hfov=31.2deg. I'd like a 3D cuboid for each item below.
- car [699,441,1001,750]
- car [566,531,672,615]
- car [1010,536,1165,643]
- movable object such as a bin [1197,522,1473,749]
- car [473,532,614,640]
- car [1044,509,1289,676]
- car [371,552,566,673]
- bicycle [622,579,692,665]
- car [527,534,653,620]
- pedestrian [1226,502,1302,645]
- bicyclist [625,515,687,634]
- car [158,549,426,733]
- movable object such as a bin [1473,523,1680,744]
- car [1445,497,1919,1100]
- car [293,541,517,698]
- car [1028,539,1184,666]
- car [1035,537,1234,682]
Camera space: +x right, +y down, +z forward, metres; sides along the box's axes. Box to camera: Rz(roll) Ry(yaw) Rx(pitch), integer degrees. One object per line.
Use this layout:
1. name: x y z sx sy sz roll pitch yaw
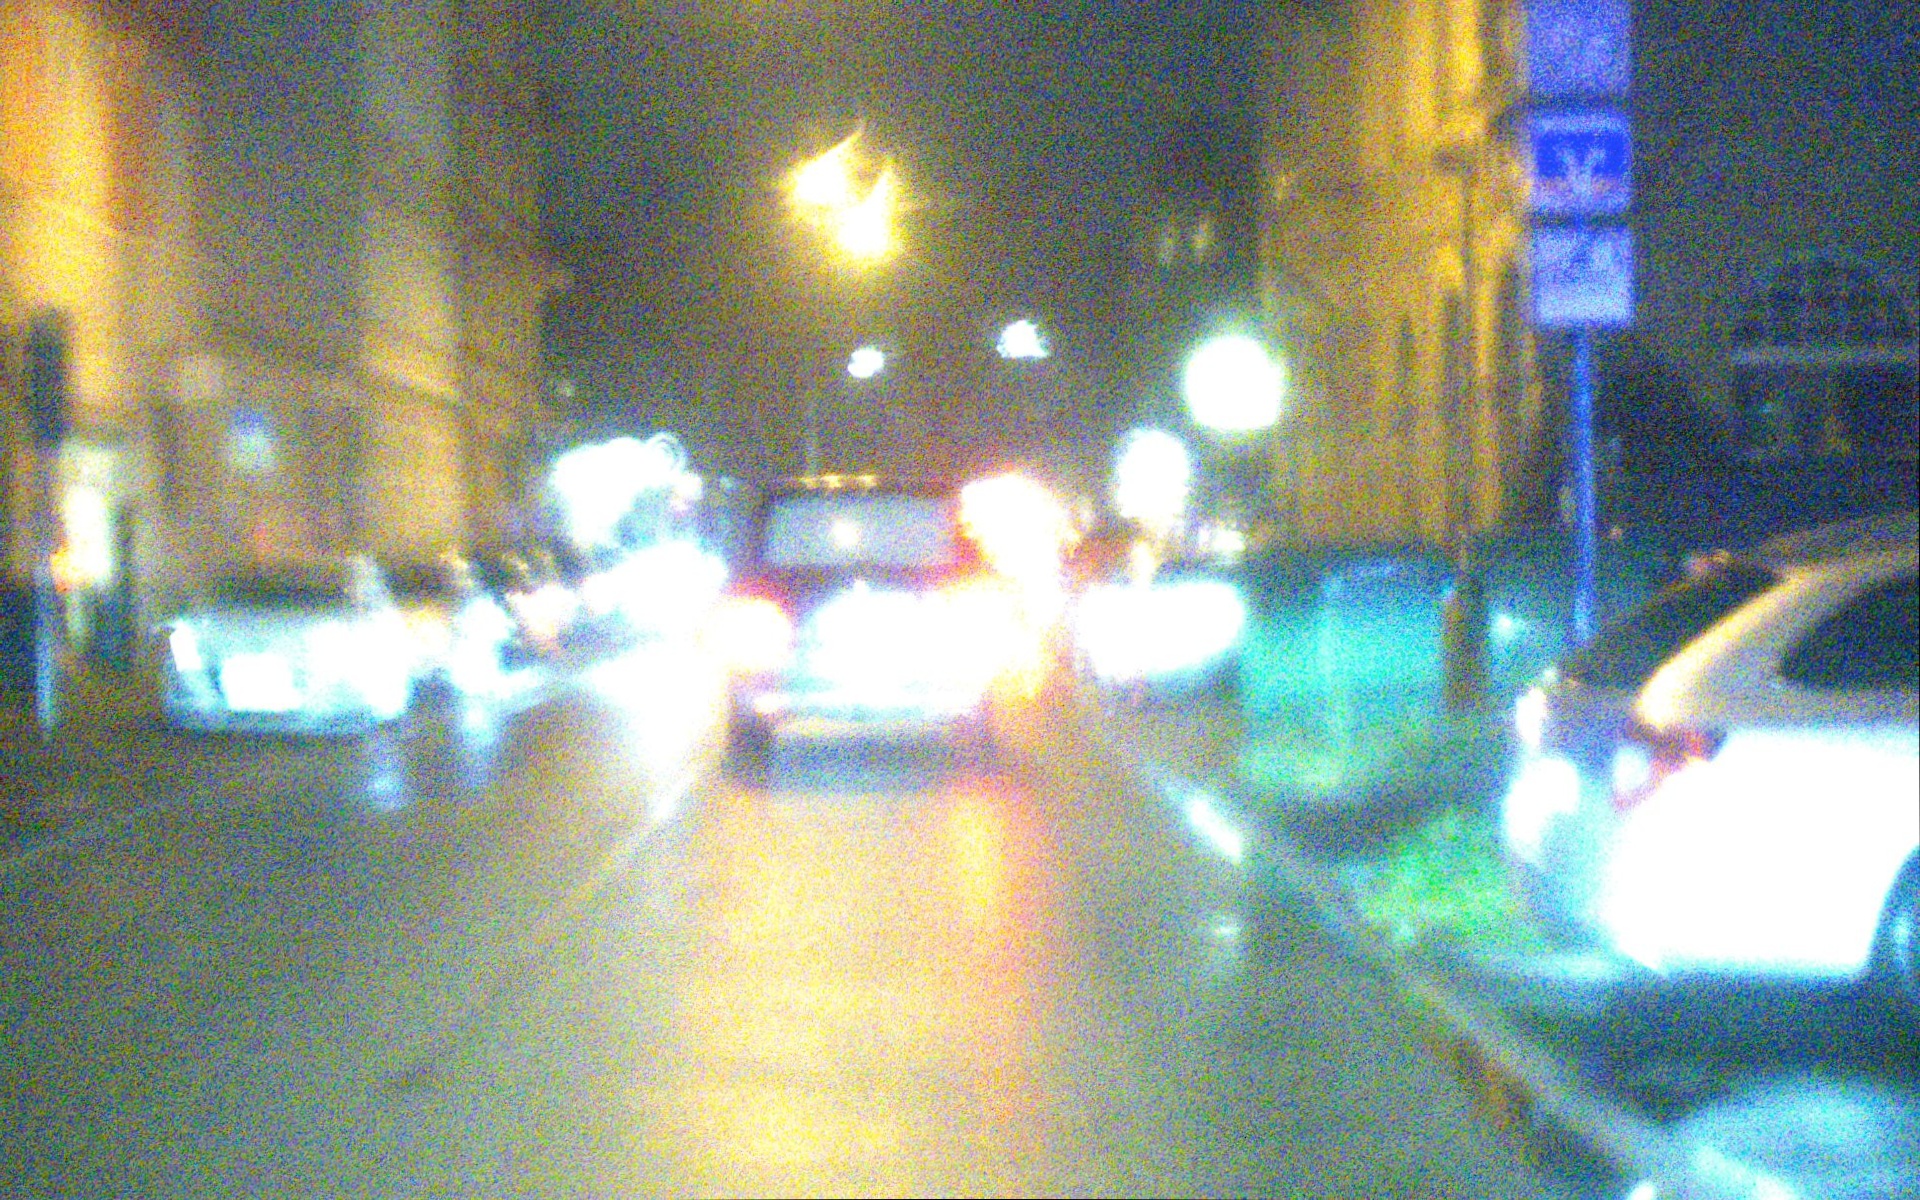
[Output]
1. car: -0.744 -0.080 25.282 1.996 2.042 4.694 0 1 0
2. car: -7.187 -0.599 72.775 1.832 1.711 4.595 0 1 -1
3. car: 1.759 -0.179 48.668 1.917 1.407 4.000 -1 1 -2
4. movable object such as a bin: 2.465 0.211 22.615 1.337 1.424 1.201 -1 1 -37
5. car: -6.359 -0.239 52.793 1.745 1.583 3.766 0 1 -1
6. car: 1.889 -0.102 32.749 1.993 1.459 4.417 -1 1 -1
7. car: -6.024 0.113 42.547 1.822 1.385 4.426 -1 1 -1
8. bicycle: -4.019 0.280 45.753 0.727 1.069 2.348 -2 1 -1
9. car: -6.662 -0.440 62.322 1.832 1.481 4.595 0 1 -1
10. pedestrian: 3.938 -0.355 44.631 0.862 1.782 1.083 -2 2 3
11. bicyclist: -4.046 -0.347 45.769 0.718 1.551 0.895 -1 1 -1
12. car: -5.794 0.311 30.191 1.672 1.486 3.722 1 1 -1
13. movable object such as a bin: 4.079 0.210 22.831 1.309 1.424 1.050 -1 1 9
14. car: 3.859 0.398 10.072 4.512 1.525 1.780 -4 1 -1
15. car: -5.881 0.162 36.851 1.774 1.567 4.135 -1 1 -1
16. car: 1.801 -0.005 43.378 1.689 1.493 3.892 -1 1 -1
17. car: 1.872 0.065 37.961 1.689 1.493 3.892 -1 1 -5
